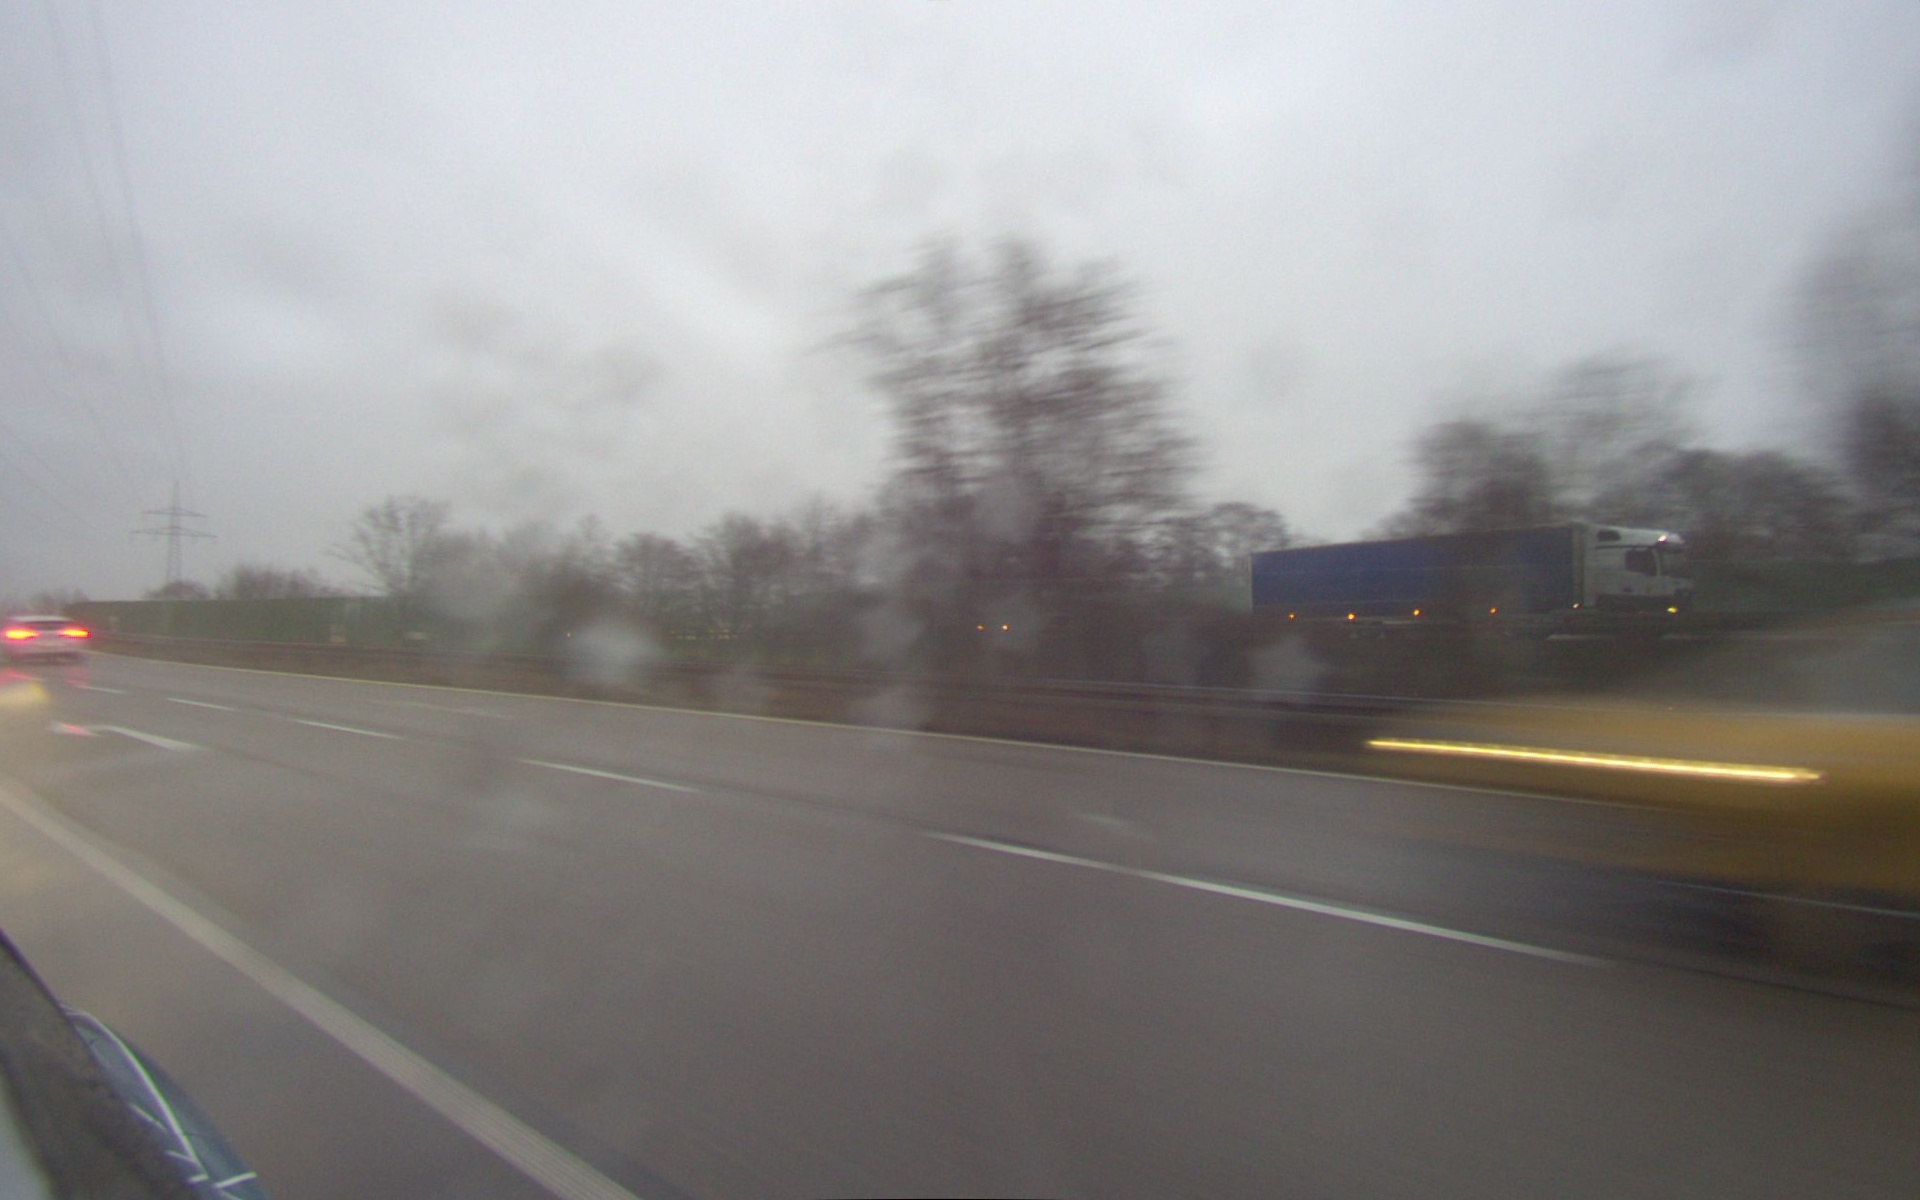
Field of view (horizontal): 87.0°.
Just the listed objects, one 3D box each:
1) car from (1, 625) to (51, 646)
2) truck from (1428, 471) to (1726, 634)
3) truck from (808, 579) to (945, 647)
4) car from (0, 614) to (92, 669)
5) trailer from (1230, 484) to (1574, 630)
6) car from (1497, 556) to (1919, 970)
[{"bbox_3d":[-64.277,2.444,69.699,1.573,1.253,4.013,-2,0,-28],"label":"car"},{"bbox_3d":[21.800,-1.476,36.337,3.232,5.169,8.538,1,-1,-37],"label":"truck"},{"bbox_3d":[-6.535,0.897,75.492,3.232,4.645,13.906,1,-1,-37],"label":"truck"},{"bbox_3d":[-28.016,1.195,30.549,4.377,1.501,1.974,0,0,39],"label":"car"},{"bbox_3d":[17.618,-1.504,42.040,3.258,5.142,13.261,2,-1,-36],"label":"trailer"},{"bbox_3d":[4.755,0.594,3.806,4.521,1.512,1.843,-1,-2,43],"label":"car"}]
